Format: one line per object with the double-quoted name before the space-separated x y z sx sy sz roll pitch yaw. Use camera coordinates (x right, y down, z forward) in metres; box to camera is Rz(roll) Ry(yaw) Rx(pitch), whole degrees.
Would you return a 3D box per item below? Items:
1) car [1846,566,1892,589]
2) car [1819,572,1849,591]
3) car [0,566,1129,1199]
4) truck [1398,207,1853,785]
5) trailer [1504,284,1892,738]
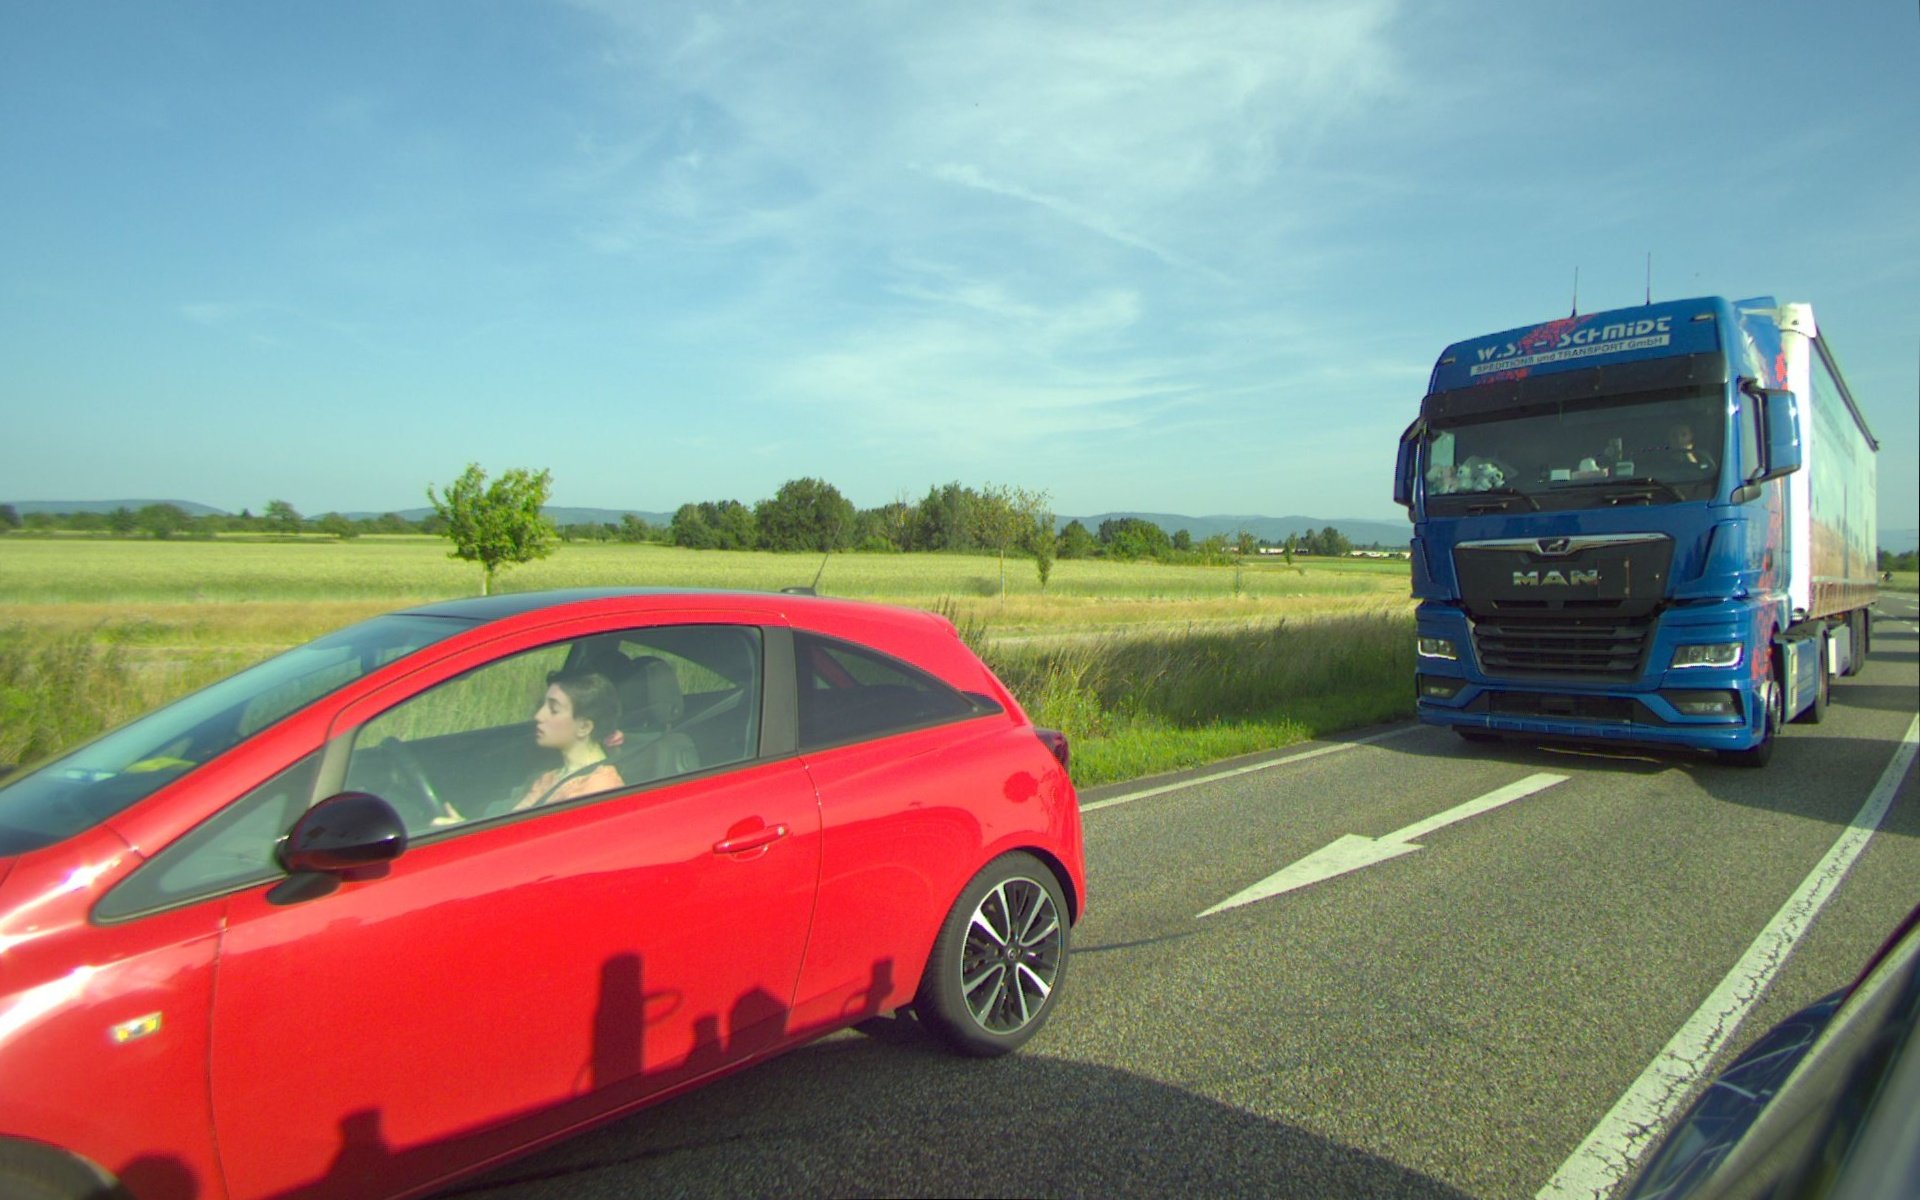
"car" 62.939 -1.603 70.111 1.989 1.552 3.947 1 2 37
"car" 76.822 -1.629 88.966 1.746 1.637 3.761 1 2 38
"car" -1.352 0.653 2.838 3.891 1.482 1.662 -2 2 -45
"truck" 6.824 -0.781 9.981 2.645 3.968 5.855 0 1 45
"trailer" 11.582 -0.945 14.832 2.645 4.028 13.709 0 1 44
